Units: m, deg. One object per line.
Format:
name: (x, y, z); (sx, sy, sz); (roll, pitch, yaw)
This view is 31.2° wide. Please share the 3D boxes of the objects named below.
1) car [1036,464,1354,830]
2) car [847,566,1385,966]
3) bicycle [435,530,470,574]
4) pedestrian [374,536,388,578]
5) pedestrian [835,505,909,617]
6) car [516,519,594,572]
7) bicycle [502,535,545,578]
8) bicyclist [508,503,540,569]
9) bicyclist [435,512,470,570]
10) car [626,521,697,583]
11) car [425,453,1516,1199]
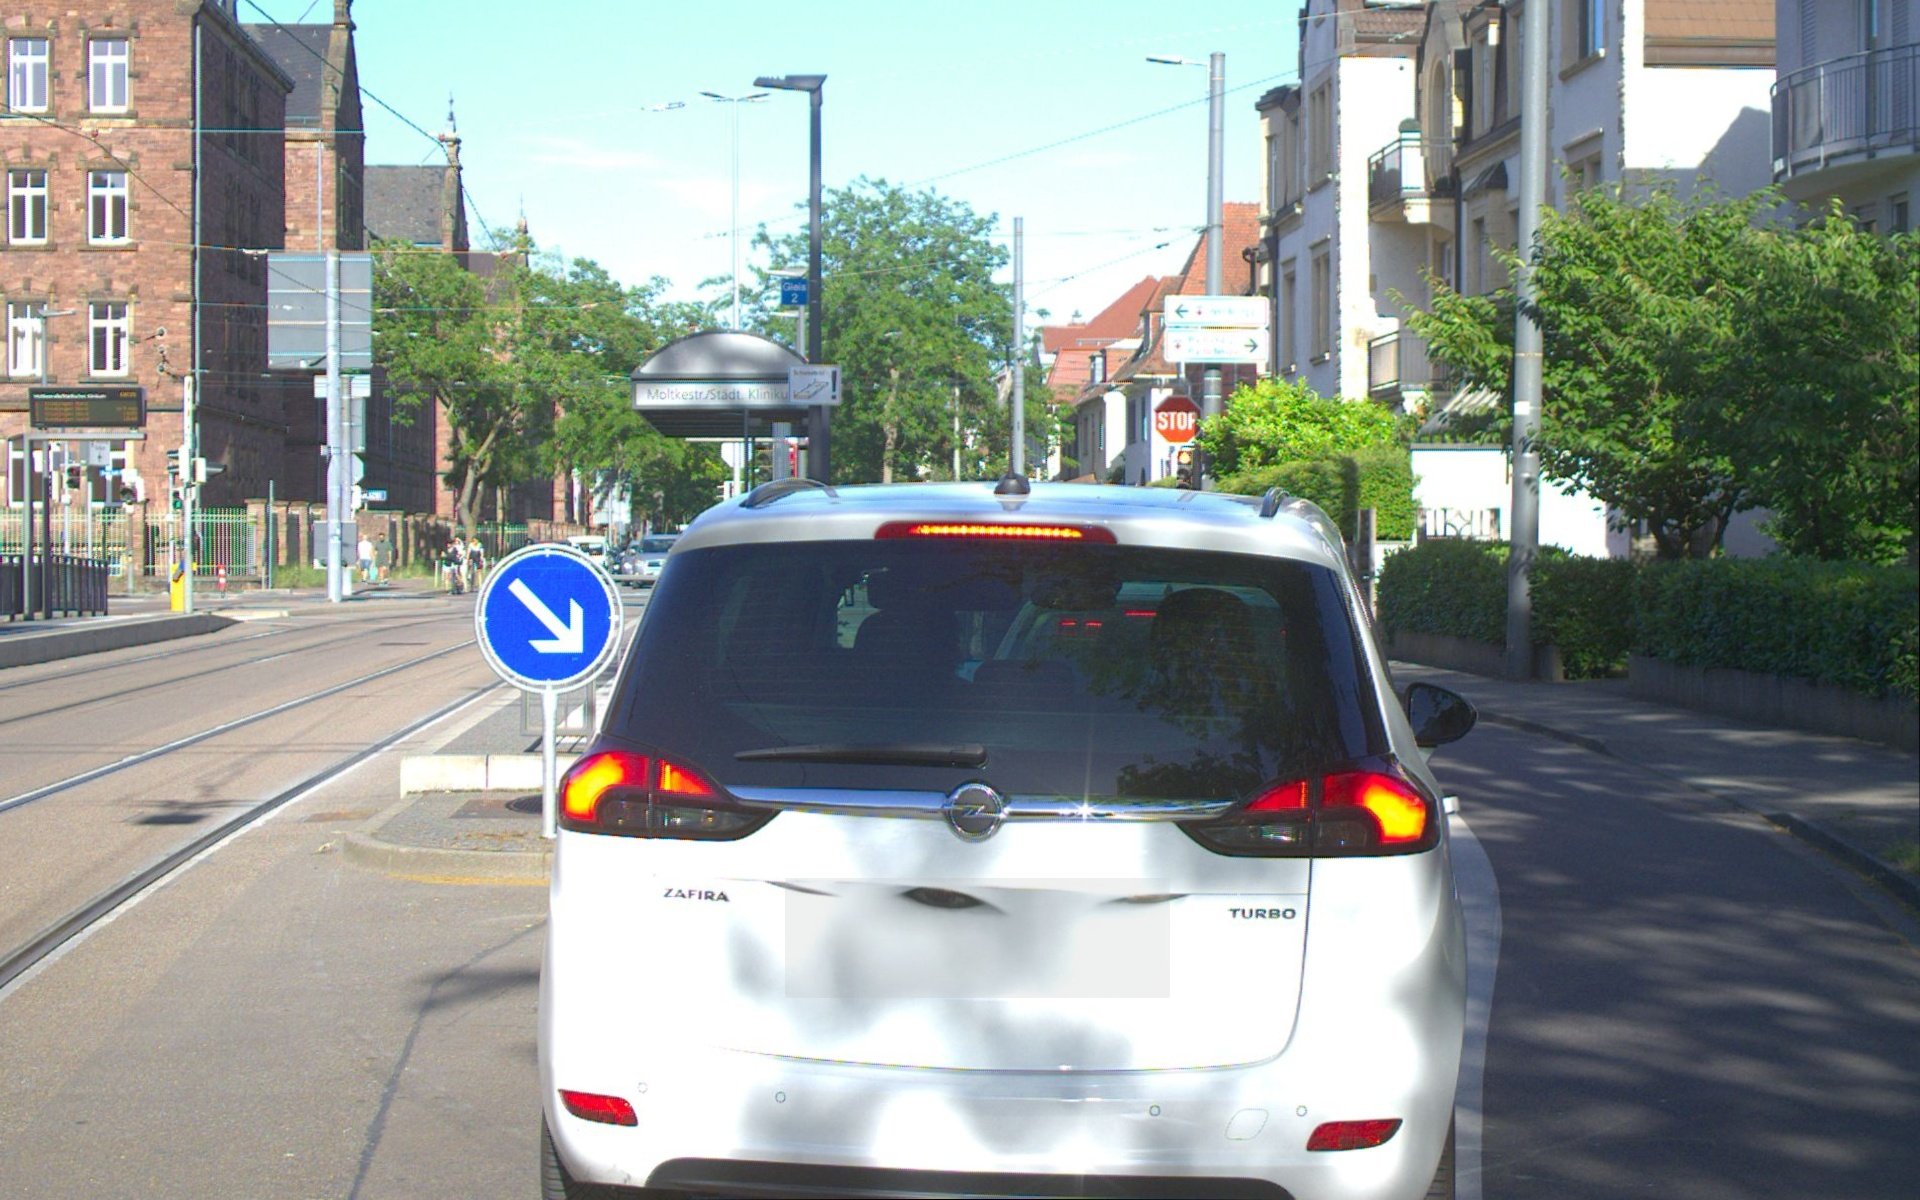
car: (1.510, 0.224, 20.848); (1.709, 2.007, 3.905); (0, 1, 7)
car: (0.811, 0.591, 14.713); (1.994, 1.437, 3.999); (0, 1, 7)
bicycle: (-15.207, -1.454, 102.986); (0.821, 1.292, 2.678); (0, 1, -4)
pedestrian: (-19.486, -1.446, 115.703); (0.361, 1.433, 0.549); (0, 1, 0)
pedestrian: (-1.591, -0.707, 61.918); (1.155, 2.007, 1.120); (0, 1, -12)
car: (-13.420, -1.806, 114.100); (1.993, 1.716, 4.000); (0, 1, 2)
bicycle: (-13.446, -1.345, 105.865); (1.148, 1.292, 2.861); (0, 1, -4)
bicyclist: (-13.413, -1.962, 105.852); (0.950, 2.007, 0.824); (0, 1, -6)
bicyclist: (-15.241, -1.784, 103.267); (0.943, 1.728, 0.861); (0, 1, -3)
car: (-9.313, -1.487, 107.617); (1.993, 1.907, 4.000); (0, 0, -2)
car: (0.204, 0.579, 8.049); (1.893, 1.605, 4.228); (0, -1, 5)
